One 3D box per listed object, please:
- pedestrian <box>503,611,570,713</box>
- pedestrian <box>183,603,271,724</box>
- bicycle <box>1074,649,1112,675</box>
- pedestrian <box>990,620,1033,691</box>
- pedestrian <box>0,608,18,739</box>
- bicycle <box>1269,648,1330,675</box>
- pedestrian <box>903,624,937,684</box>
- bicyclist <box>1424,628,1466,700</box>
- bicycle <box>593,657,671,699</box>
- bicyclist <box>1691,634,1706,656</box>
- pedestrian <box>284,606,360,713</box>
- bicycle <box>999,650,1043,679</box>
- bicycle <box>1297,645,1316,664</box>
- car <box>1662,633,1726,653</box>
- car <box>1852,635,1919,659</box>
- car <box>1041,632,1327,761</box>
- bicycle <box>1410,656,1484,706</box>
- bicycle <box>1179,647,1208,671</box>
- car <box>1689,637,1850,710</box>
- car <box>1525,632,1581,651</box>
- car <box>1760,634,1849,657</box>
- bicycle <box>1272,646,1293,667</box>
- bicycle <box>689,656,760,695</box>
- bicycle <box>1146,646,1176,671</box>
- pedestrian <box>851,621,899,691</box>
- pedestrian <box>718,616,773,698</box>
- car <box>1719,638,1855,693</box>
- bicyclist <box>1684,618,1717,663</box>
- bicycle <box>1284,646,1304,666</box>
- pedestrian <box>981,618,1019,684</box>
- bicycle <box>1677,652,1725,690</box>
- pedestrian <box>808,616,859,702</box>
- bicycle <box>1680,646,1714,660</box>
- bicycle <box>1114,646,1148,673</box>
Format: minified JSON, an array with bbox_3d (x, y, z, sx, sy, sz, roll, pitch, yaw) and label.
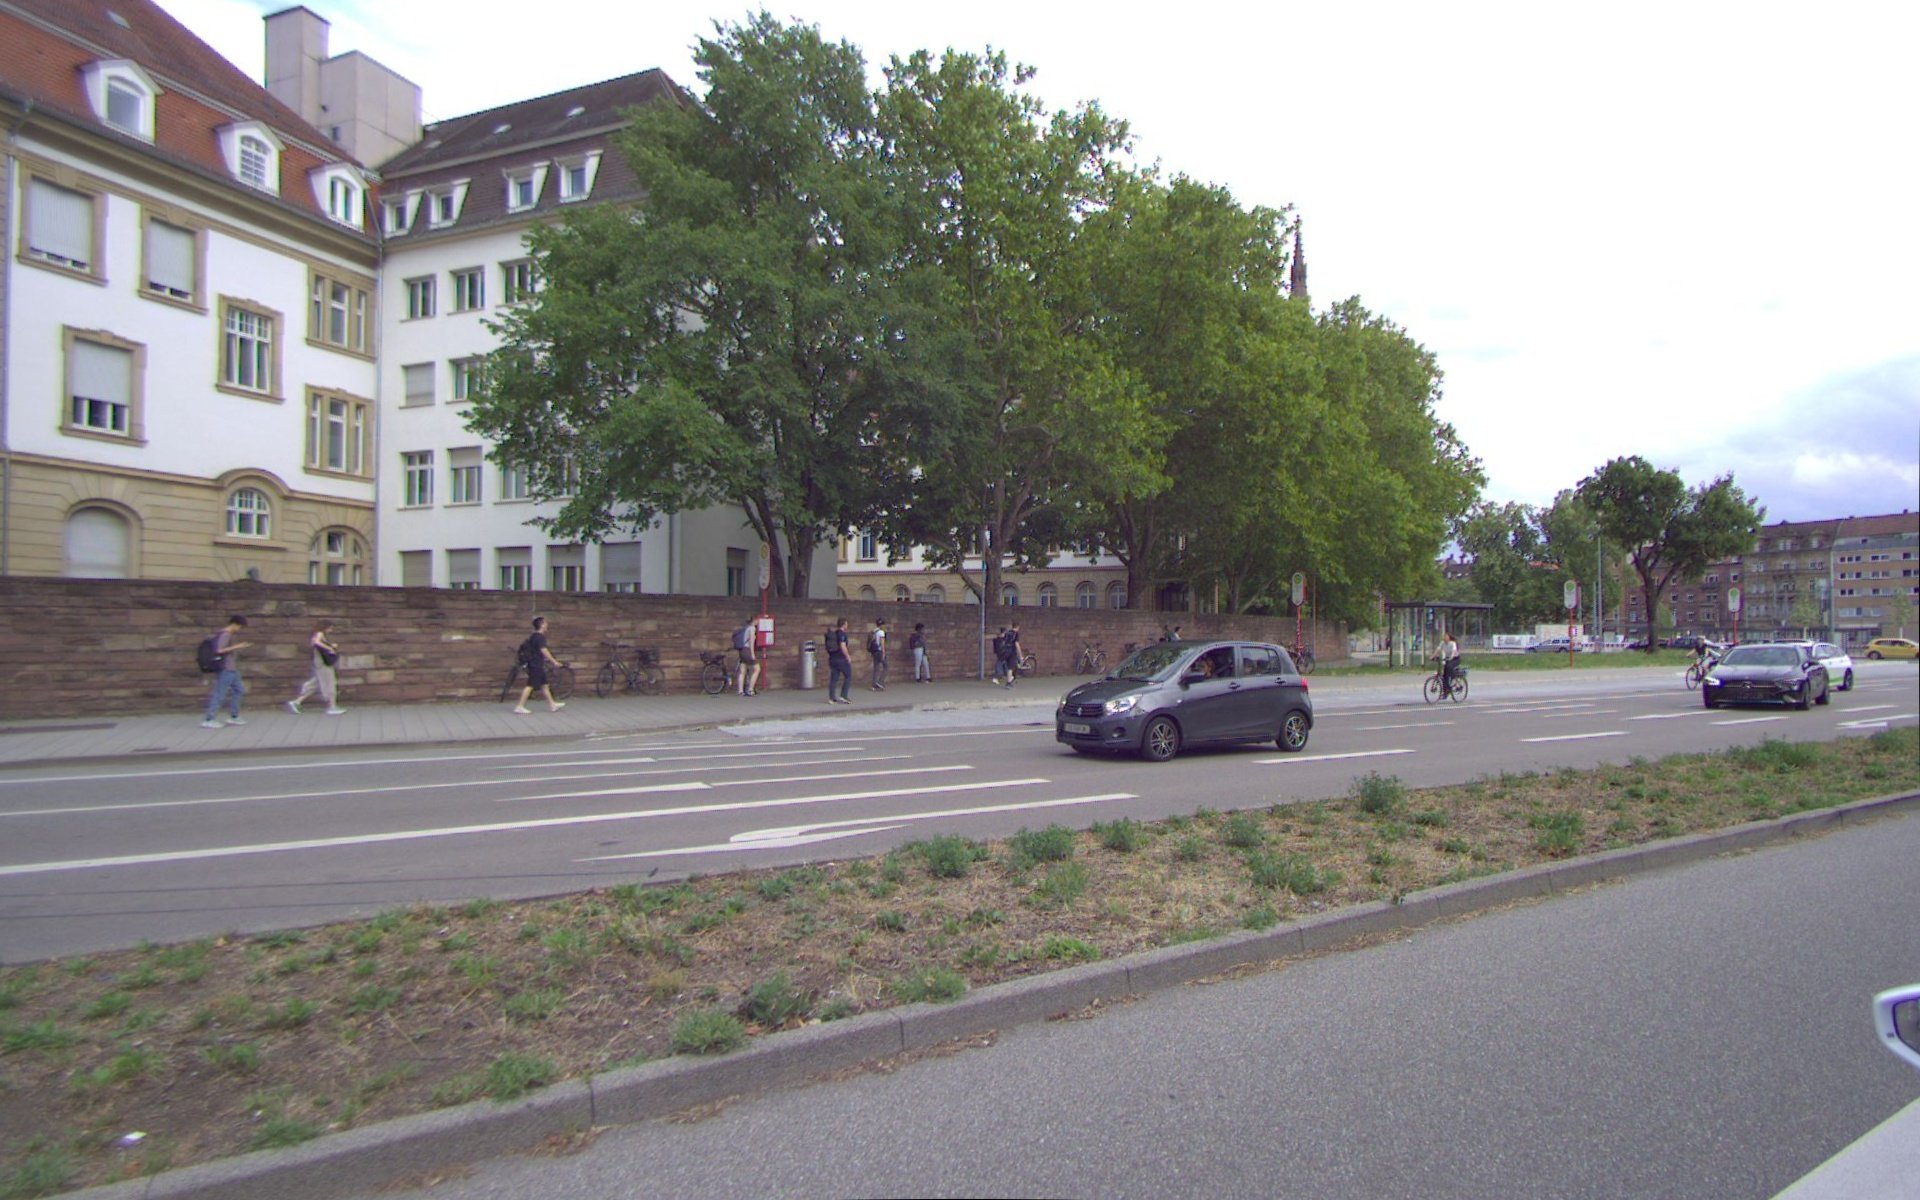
[{"bbox_3d":[-7.744,1.116,18.381,0.748,1.805,0.782,0,-3,30],"label":"pedestrian"},{"bbox_3d":[-11.257,0.961,15.432,0.747,1.805,0.783,0,-3,29],"label":"pedestrian"},{"bbox_3d":[4.473,2.070,33.756,0.436,0.838,1.613,2,0,41],"label":"bicycle"},{"bbox_3d":[1.351,1.440,26.114,0.748,1.805,0.923,0,-3,30],"label":"pedestrian"},{"bbox_3d":[-13.747,1.004,13.881,0.733,1.805,0.783,0,-2,26],"label":"pedestrian"},{"bbox_3d":[11.809,2.129,34.876,2.306,0.931,0.469,1,-2,-24],"label":"bicycle"},{"bbox_3d":[-1.093,1.469,27.556,0.578,1.613,0.733,0,-3,36],"label":"pedestrian"},{"bbox_3d":[12.449,1.635,25.775,0.800,1.806,0.616,1,-2,-27],"label":"bicyclist"},{"bbox_3d":[-7.232,1.710,22.197,1.608,0.807,0.437,0,1,-41],"label":"bicycle"},{"bbox_3d":[55.508,3.364,75.501,0.567,1.665,0.781,1,-2,-36],"label":"bicyclist"},{"bbox_3d":[-11.152,1.033,17.557,0.747,1.805,0.783,0,-2,27],"label":"pedestrian"},{"bbox_3d":[1.872,1.976,30.868,0.436,0.838,1.613,2,0,41],"label":"bicycle"},{"bbox_3d":[17.533,2.767,50.817,0.474,0.919,1.616,2,0,34],"label":"bicycle"},{"bbox_3d":[56.975,3.346,77.971,1.570,1.413,3.736,1,-1,-37],"label":"car"},{"bbox_3d":[63.560,3.191,68.497,1.644,1.537,3.830,1,-1,-35],"label":"car"},{"bbox_3d":[3.005,1.207,13.353,3.594,1.508,1.565,1,-4,-30],"label":"car"},{"bbox_3d":[12.503,2.058,25.789,2.018,1.233,0.616,1,-2,-27],"label":"bicycle"},{"bbox_3d":[9.088,2.280,39.085,0.435,0.890,1.614,2,0,37],"label":"bicycle"},{"bbox_3d":[18.462,1.599,22.863,4.363,1.509,1.789,1,-2,-36],"label":"car"},{"bbox_3d":[54.009,3.792,91.505,1.631,1.671,4.125,1,-2,-36],"label":"car"},{"bbox_3d":[60.751,3.268,72.339,1.644,1.495,4.637,1,-1,-35],"label":"car"},{"bbox_3d":[15.211,2.656,47.327,0.474,0.919,1.616,2,0,34],"label":"bicycle"},{"bbox_3d":[-5.533,1.758,23.669,1.608,0.807,0.437,0,1,-41],"label":"bicycle"},{"bbox_3d":[7.444,2.140,37.128,0.342,0.890,1.514,2,0,41],"label":"bicycle"},{"bbox_3d":[-2.121,1.386,25.084,0.748,1.693,0.923,0,-3,30],"label":"pedestrian"},{"bbox_3d":[-4.850,1.276,22.719,0.748,1.805,0.913,0,-3,30],"label":"pedestrian"},{"bbox_3d":[24.695,1.906,29.962,4.365,1.509,1.793,1,-2,-31],"label":"car"},{"bbox_3d":[24.254,1.327,32.897,0.801,1.437,0.578,1,-2,-28],"label":"bicyclist"},{"bbox_3d":[16.356,2.713,49.200,0.474,0.919,1.616,2,0,34],"label":"bicycle"},{"bbox_3d":[1.137,1.429,28.326,0.748,1.805,0.782,0,-3,30],"label":"pedestrian"},{"bbox_3d":[24.263,2.321,32.872,1.942,1.186,0.579,1,-2,-31],"label":"bicycle"},{"bbox_3d":[-2.707,1.253,21.557,0.749,1.805,0.720,0,-3,35],"label":"pedestrian"},{"bbox_3d":[55.437,3.969,75.561,0.625,0.995,1.951,1,-2,-35],"label":"bicycle"},{"bbox_3d":[6.069,2.095,35.602,0.411,0.890,1.548,2,0,41],"label":"bicycle"}]
